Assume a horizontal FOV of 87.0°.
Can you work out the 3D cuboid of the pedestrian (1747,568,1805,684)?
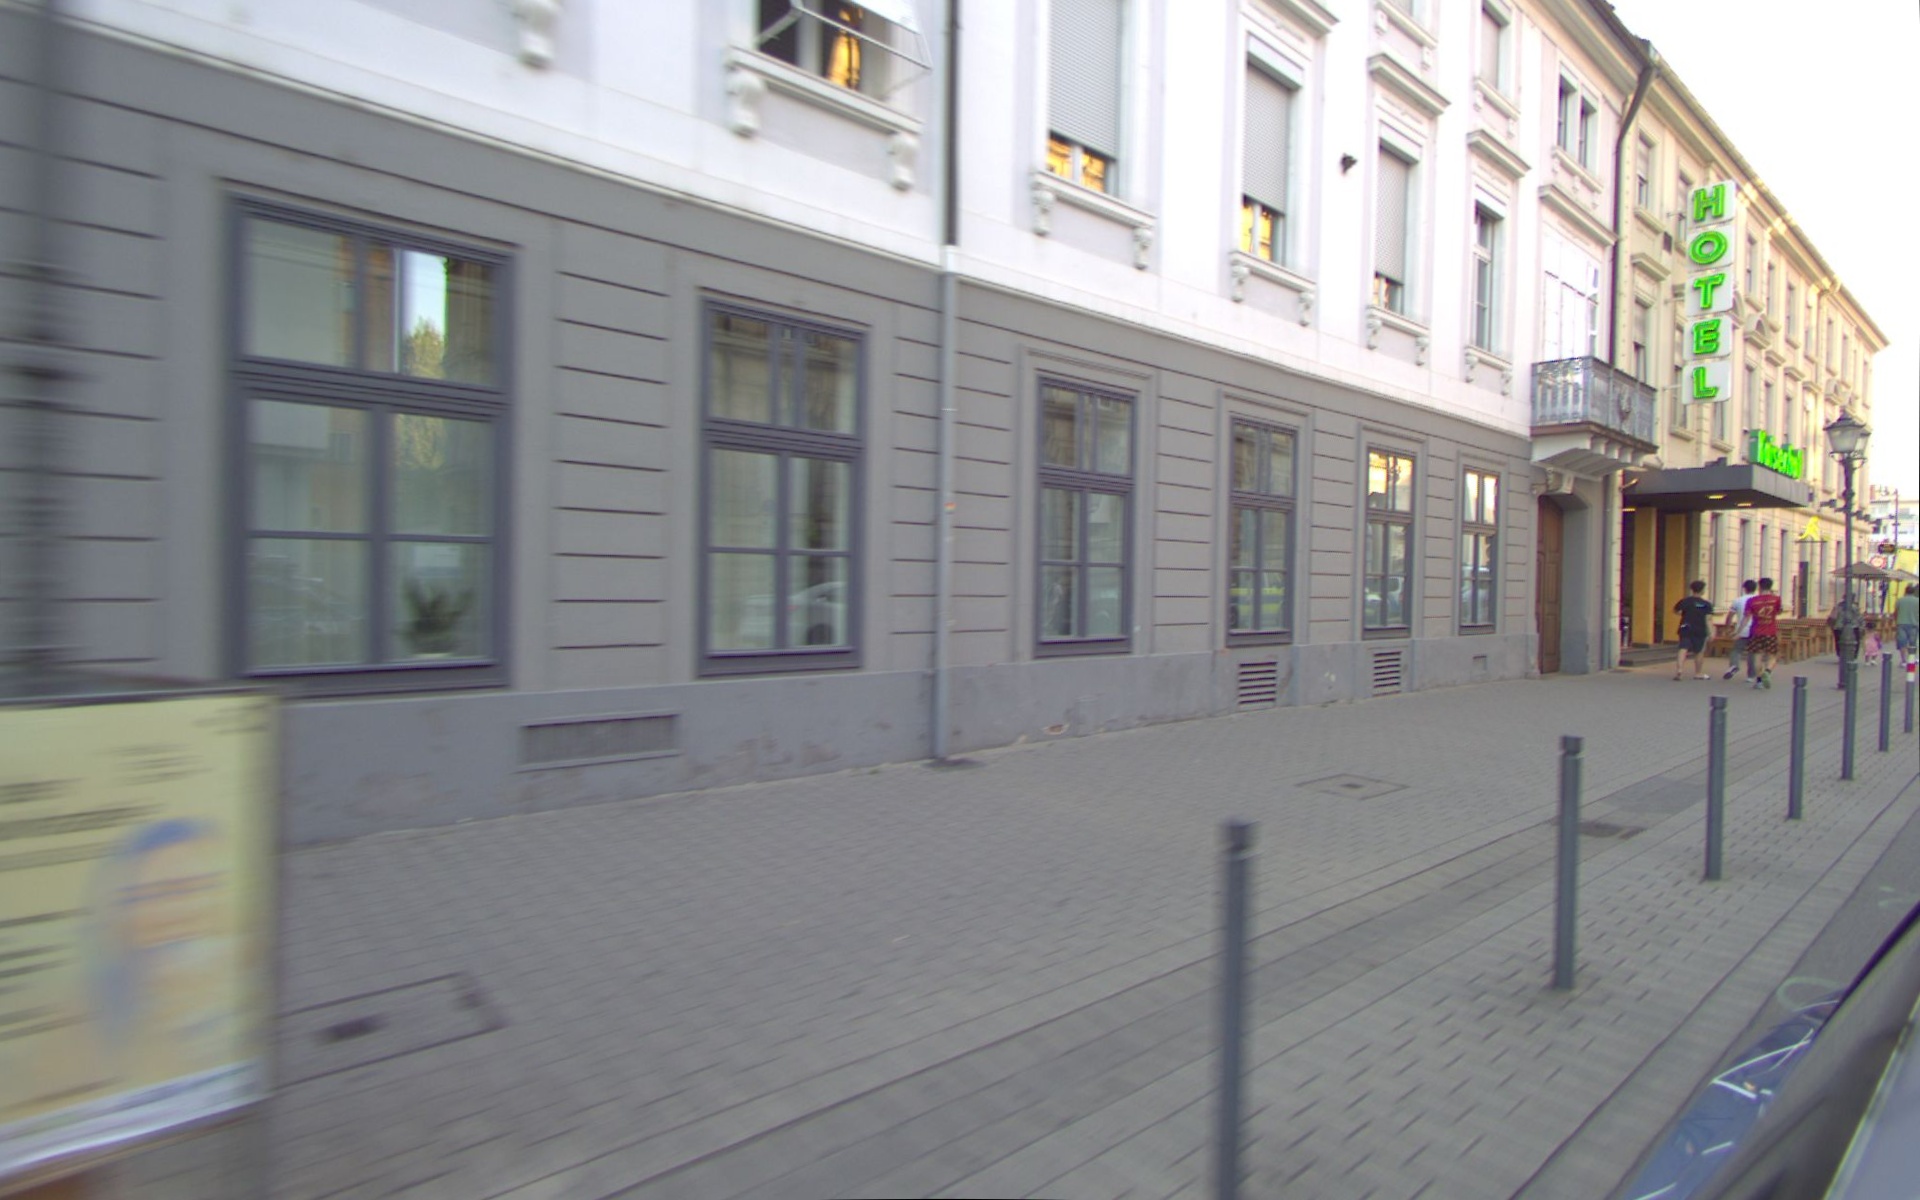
[{"bbox_3d":[13.147,0.399,16.326,0.618,1.812,0.902,1,1,34],"label":"pedestrian"}]

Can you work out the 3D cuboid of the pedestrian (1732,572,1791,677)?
[{"bbox_3d":[13.799,0.399,17.416,0.747,1.751,0.868,1,1,40],"label":"pedestrian"}]

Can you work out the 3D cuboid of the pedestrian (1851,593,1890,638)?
[{"bbox_3d":[28.857,0.489,32.084,0.771,1.376,0.716,1,1,33],"label":"pedestrian"}]

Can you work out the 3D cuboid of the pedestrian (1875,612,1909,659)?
[{"bbox_3d":[20.241,0.761,21.973,0.548,0.992,0.461,0,1,-40],"label":"pedestrian"}]

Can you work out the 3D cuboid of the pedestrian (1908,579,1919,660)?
[{"bbox_3d":[21.037,0.430,21.953,0.548,1.751,0.608,0,1,-40],"label":"pedestrian"}]

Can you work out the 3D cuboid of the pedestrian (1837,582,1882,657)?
[{"bbox_3d":[20.000,0.426,22.506,0.604,1.621,0.631,0,1,-40],"label":"pedestrian"}]

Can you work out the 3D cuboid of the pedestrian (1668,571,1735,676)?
[{"bbox_3d":[12.873,0.385,17.565,0.857,1.751,0.715,0,1,-39],"label":"pedestrian"}]
